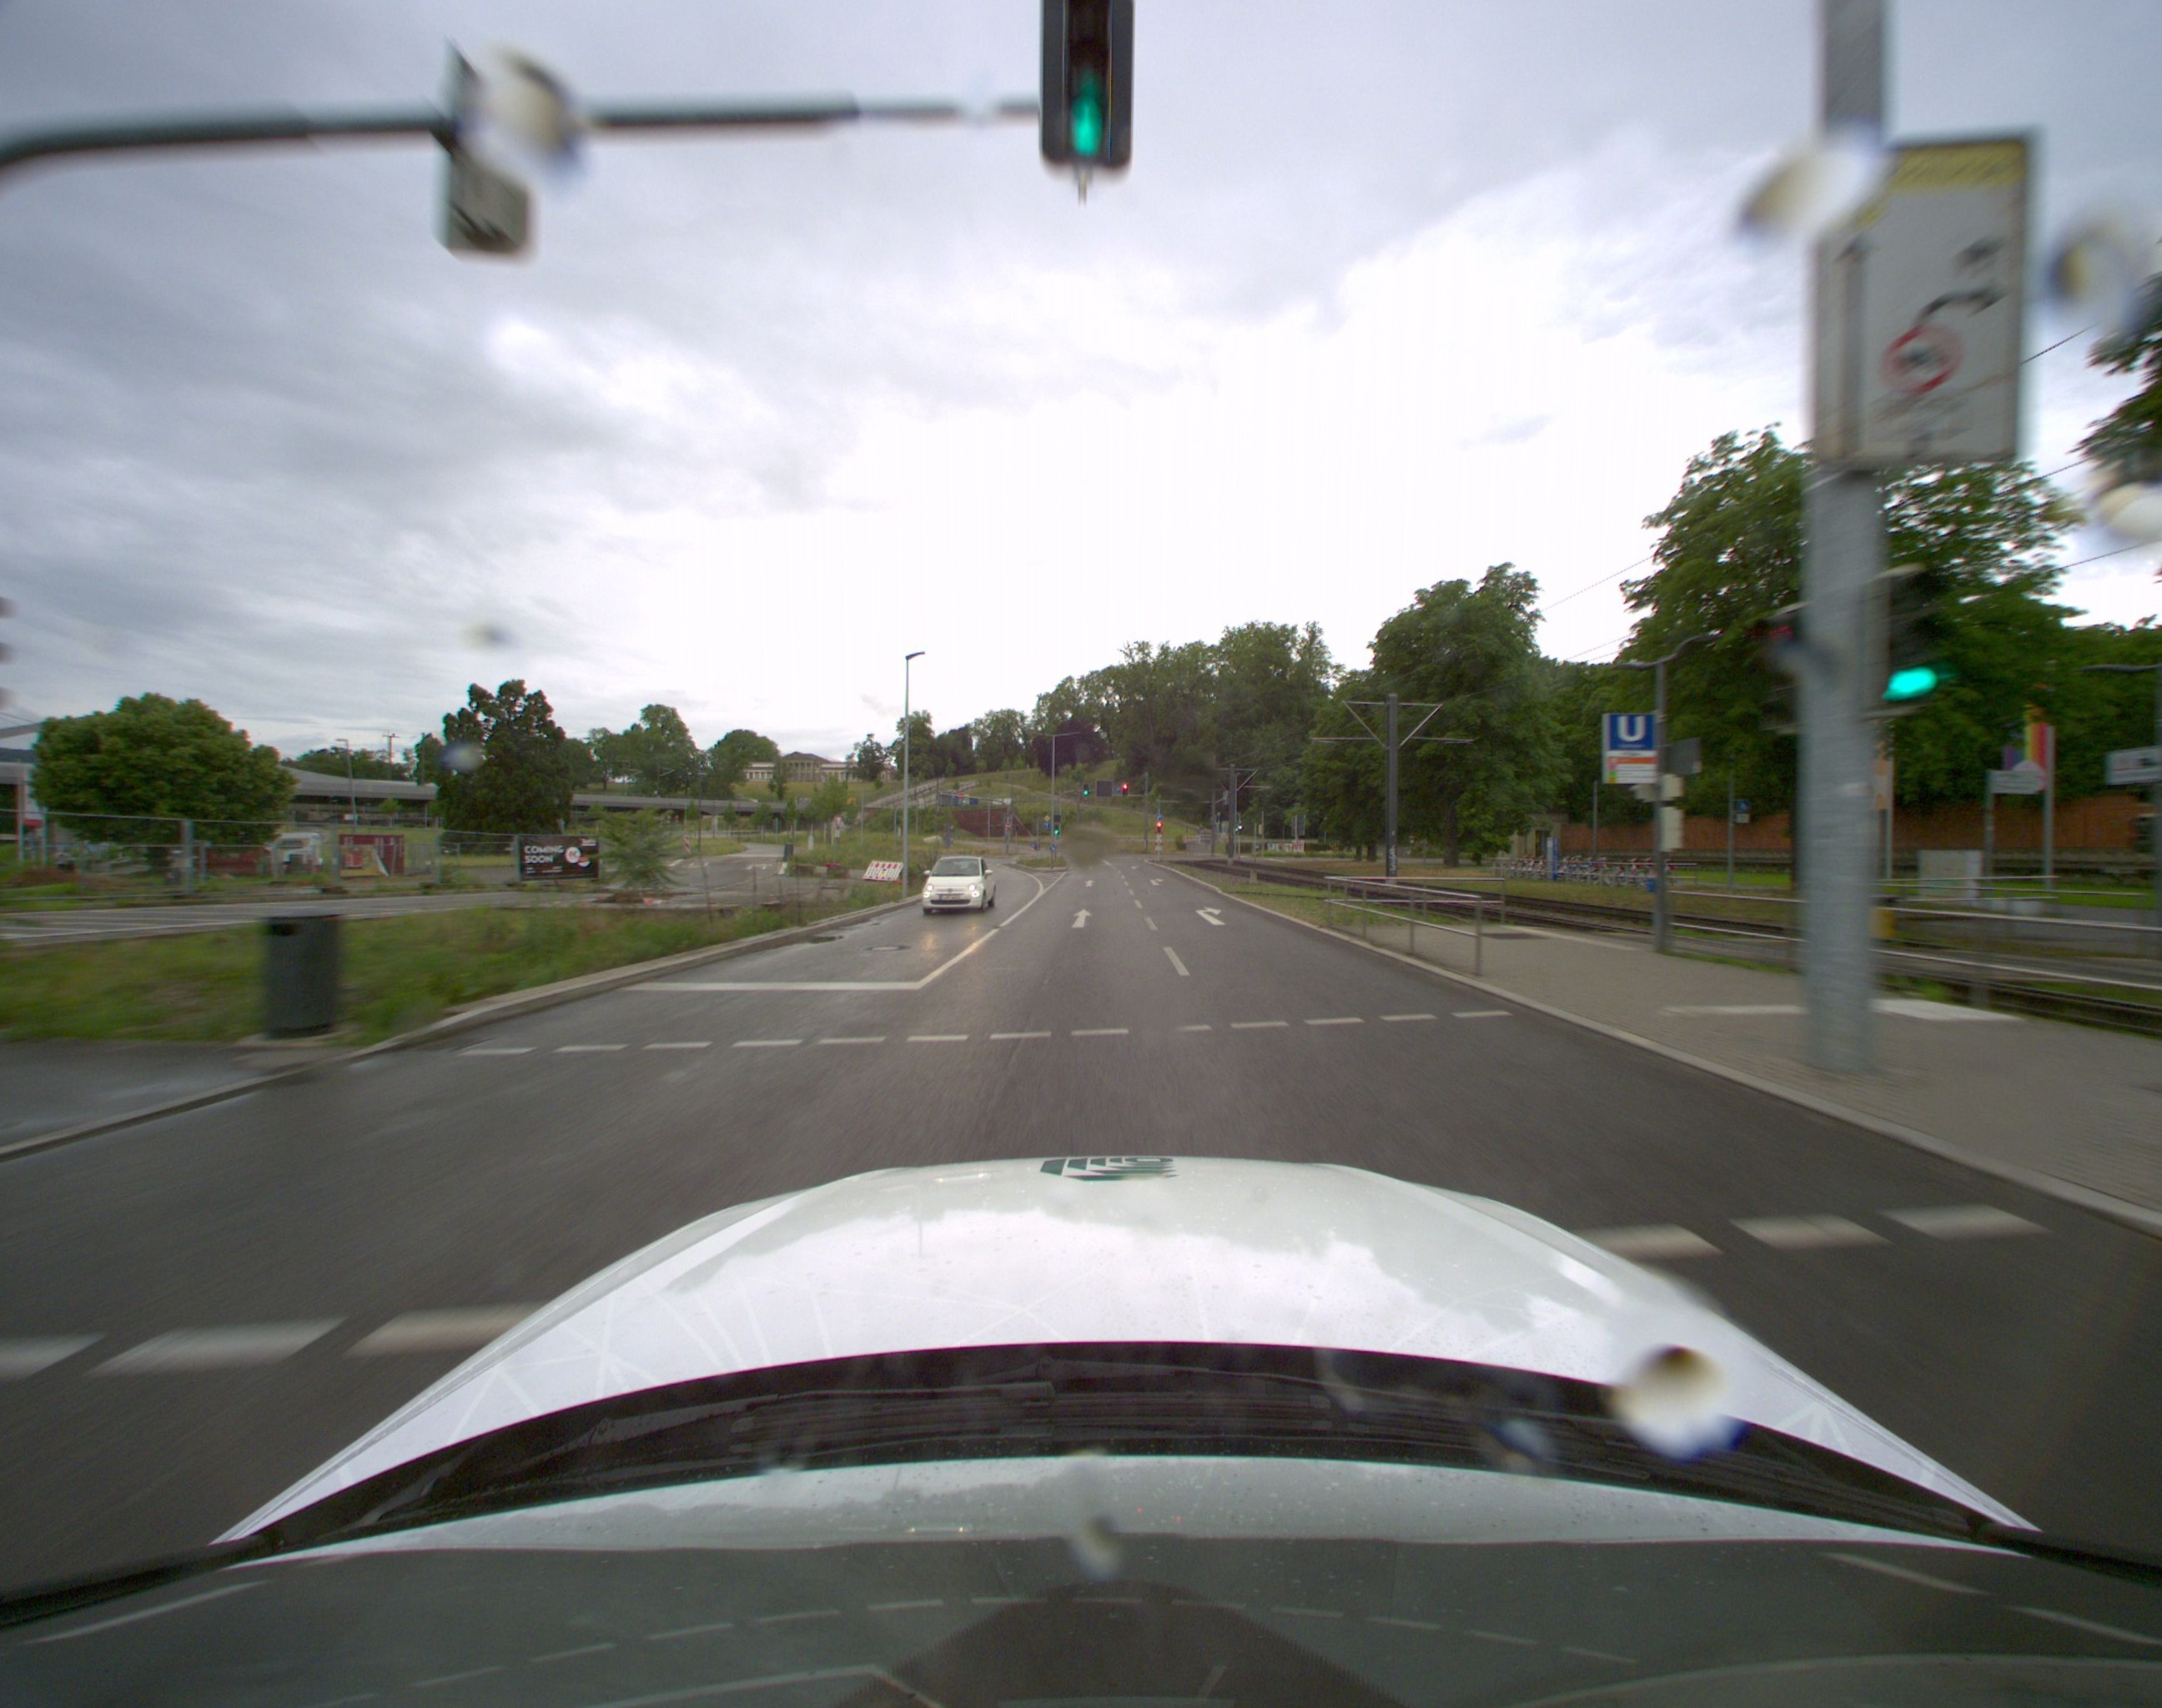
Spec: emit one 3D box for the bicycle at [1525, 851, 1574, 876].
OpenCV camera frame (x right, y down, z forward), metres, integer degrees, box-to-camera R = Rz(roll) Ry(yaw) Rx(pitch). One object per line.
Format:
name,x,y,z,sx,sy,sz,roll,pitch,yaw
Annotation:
bicycle,20.405,0.413,35.487,1.805,1.032,0.652,0,1,-1

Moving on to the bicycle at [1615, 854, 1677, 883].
bicycle,20.333,0.513,29.308,1.805,1.032,0.652,0,1,-1

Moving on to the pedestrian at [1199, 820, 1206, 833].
pedestrian,17.647,-4.003,118.385,0.951,1.781,1.126,3,2,12

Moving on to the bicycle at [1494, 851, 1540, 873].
bicycle,20.416,0.369,38.151,1.805,1.032,0.652,0,1,-1

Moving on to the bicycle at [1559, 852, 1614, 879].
bicycle,20.227,0.451,32.605,1.805,1.034,0.652,0,1,-1

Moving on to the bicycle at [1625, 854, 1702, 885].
bicycle,20.337,0.527,28.437,2.216,1.032,0.689,0,1,-1

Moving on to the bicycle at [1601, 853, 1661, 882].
bicycle,20.383,0.490,30.209,1.805,1.032,0.652,0,1,-1

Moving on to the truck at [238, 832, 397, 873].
truck,-54.166,-0.117,58.111,7.997,2.802,2.397,0,1,-37

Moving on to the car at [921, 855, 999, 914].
car,-3.275,0.781,22.647,1.582,1.491,3.714,-1,0,0

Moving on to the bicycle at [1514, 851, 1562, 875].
bicycle,20.429,0.404,36.390,1.805,1.032,0.652,0,1,-1

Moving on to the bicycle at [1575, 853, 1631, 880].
bicycle,20.350,0.474,31.763,1.805,1.032,0.652,0,1,-1

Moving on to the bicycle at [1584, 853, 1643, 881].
bicycle,20.309,0.480,31.057,1.841,1.032,0.652,0,1,-1

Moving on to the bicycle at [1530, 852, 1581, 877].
bicycle,20.274,0.432,34.815,1.829,1.032,0.652,0,1,-1

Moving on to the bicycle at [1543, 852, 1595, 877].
bicycle,20.419,0.428,34.119,1.805,1.032,0.652,0,1,-1

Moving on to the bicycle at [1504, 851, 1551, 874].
bicycle,20.443,0.391,37.269,1.805,1.032,0.652,0,1,-1

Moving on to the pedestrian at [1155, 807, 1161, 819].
pedestrian,13.547,-7.294,143.547,0.789,2.012,0.654,-4,7,-14
